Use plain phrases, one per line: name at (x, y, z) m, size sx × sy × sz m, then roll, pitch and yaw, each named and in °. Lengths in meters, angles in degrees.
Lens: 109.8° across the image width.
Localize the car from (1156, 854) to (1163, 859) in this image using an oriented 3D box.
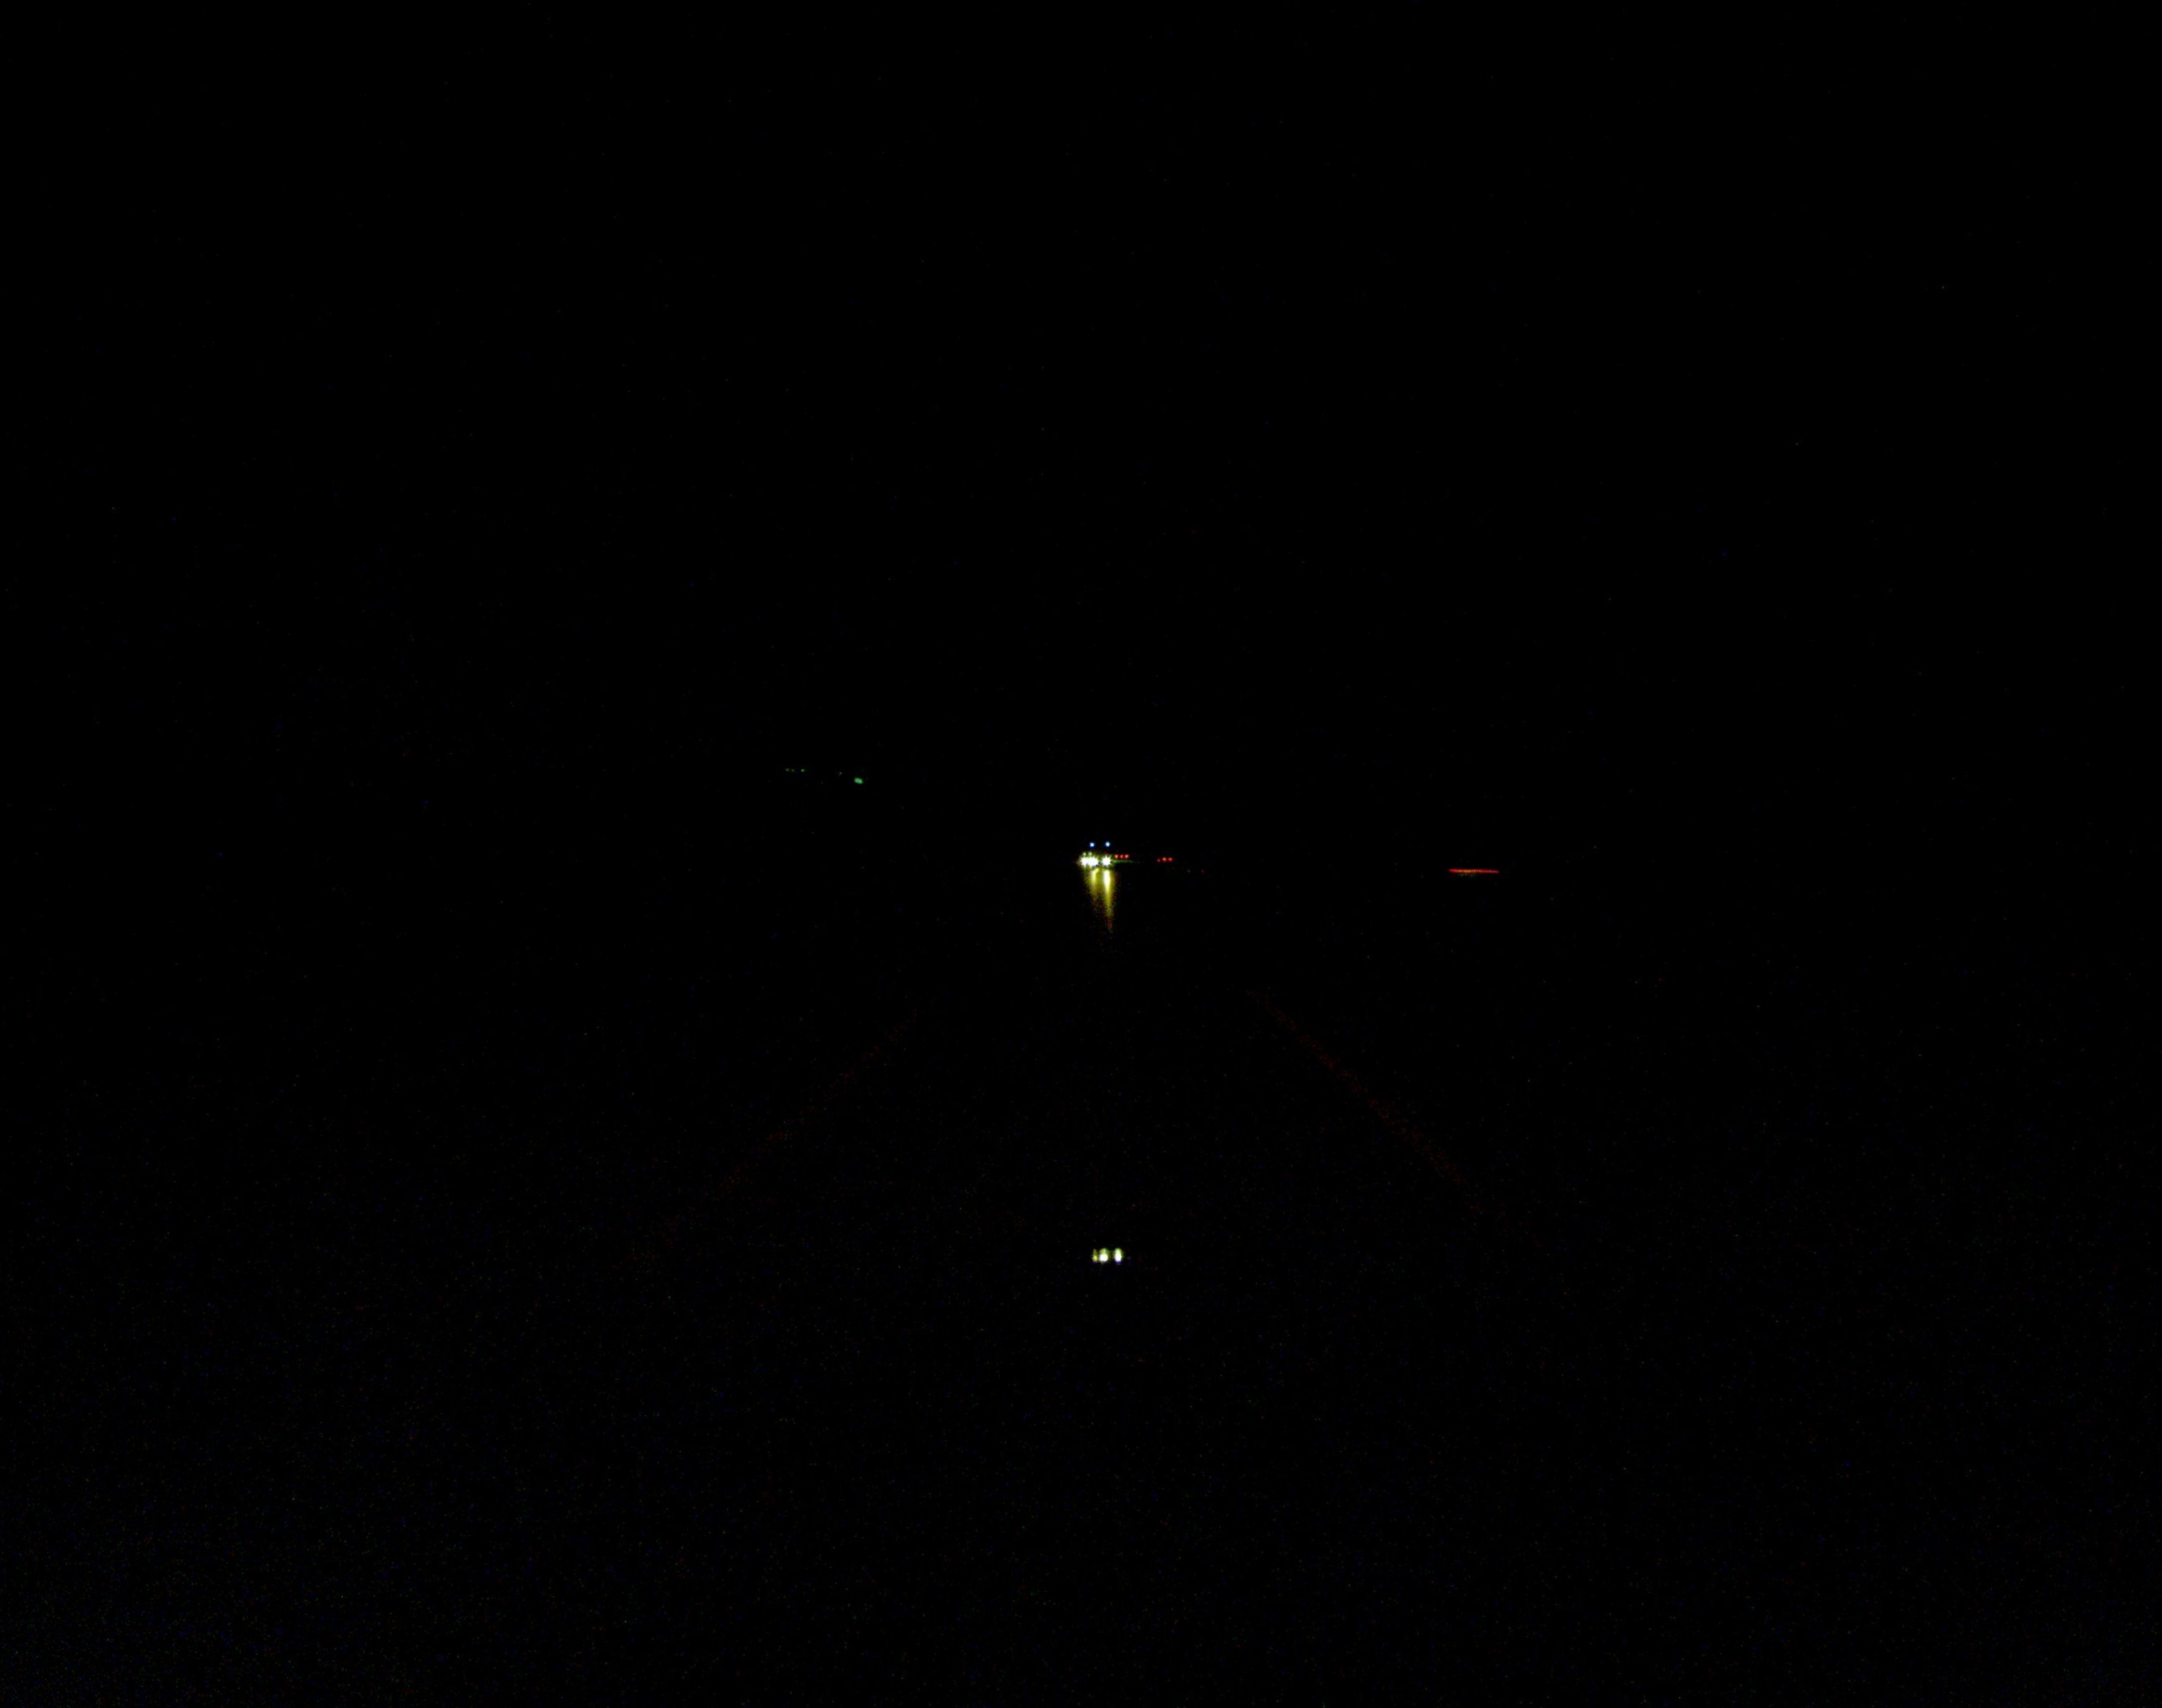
car at (27.298, 0.792, 264.667) m, size 1.908 × 1.625 × 5.045 m, roll -3°, pitch 1°, yaw 2°

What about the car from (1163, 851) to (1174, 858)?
car at (20.640, 0.043, 179.190) m, size 1.908 × 1.608 × 4.404 m, roll -1°, pitch 0°, yaw 0°

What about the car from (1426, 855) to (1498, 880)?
car at (20.807, 0.697, 41.680) m, size 1.908 × 1.275 × 4.350 m, roll -1°, pitch 0°, yaw 2°

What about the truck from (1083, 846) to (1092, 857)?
truck at (2.316, -0.873, 260.300) m, size 3.042 × 3.726 × 7.560 m, roll -1°, pitch 0°, yaw 2°

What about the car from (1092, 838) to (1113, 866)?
car at (2.586, -0.239, 91.990) m, size 2.255 × 3.205 × 6.878 m, roll -2°, pitch 1°, yaw 1°
